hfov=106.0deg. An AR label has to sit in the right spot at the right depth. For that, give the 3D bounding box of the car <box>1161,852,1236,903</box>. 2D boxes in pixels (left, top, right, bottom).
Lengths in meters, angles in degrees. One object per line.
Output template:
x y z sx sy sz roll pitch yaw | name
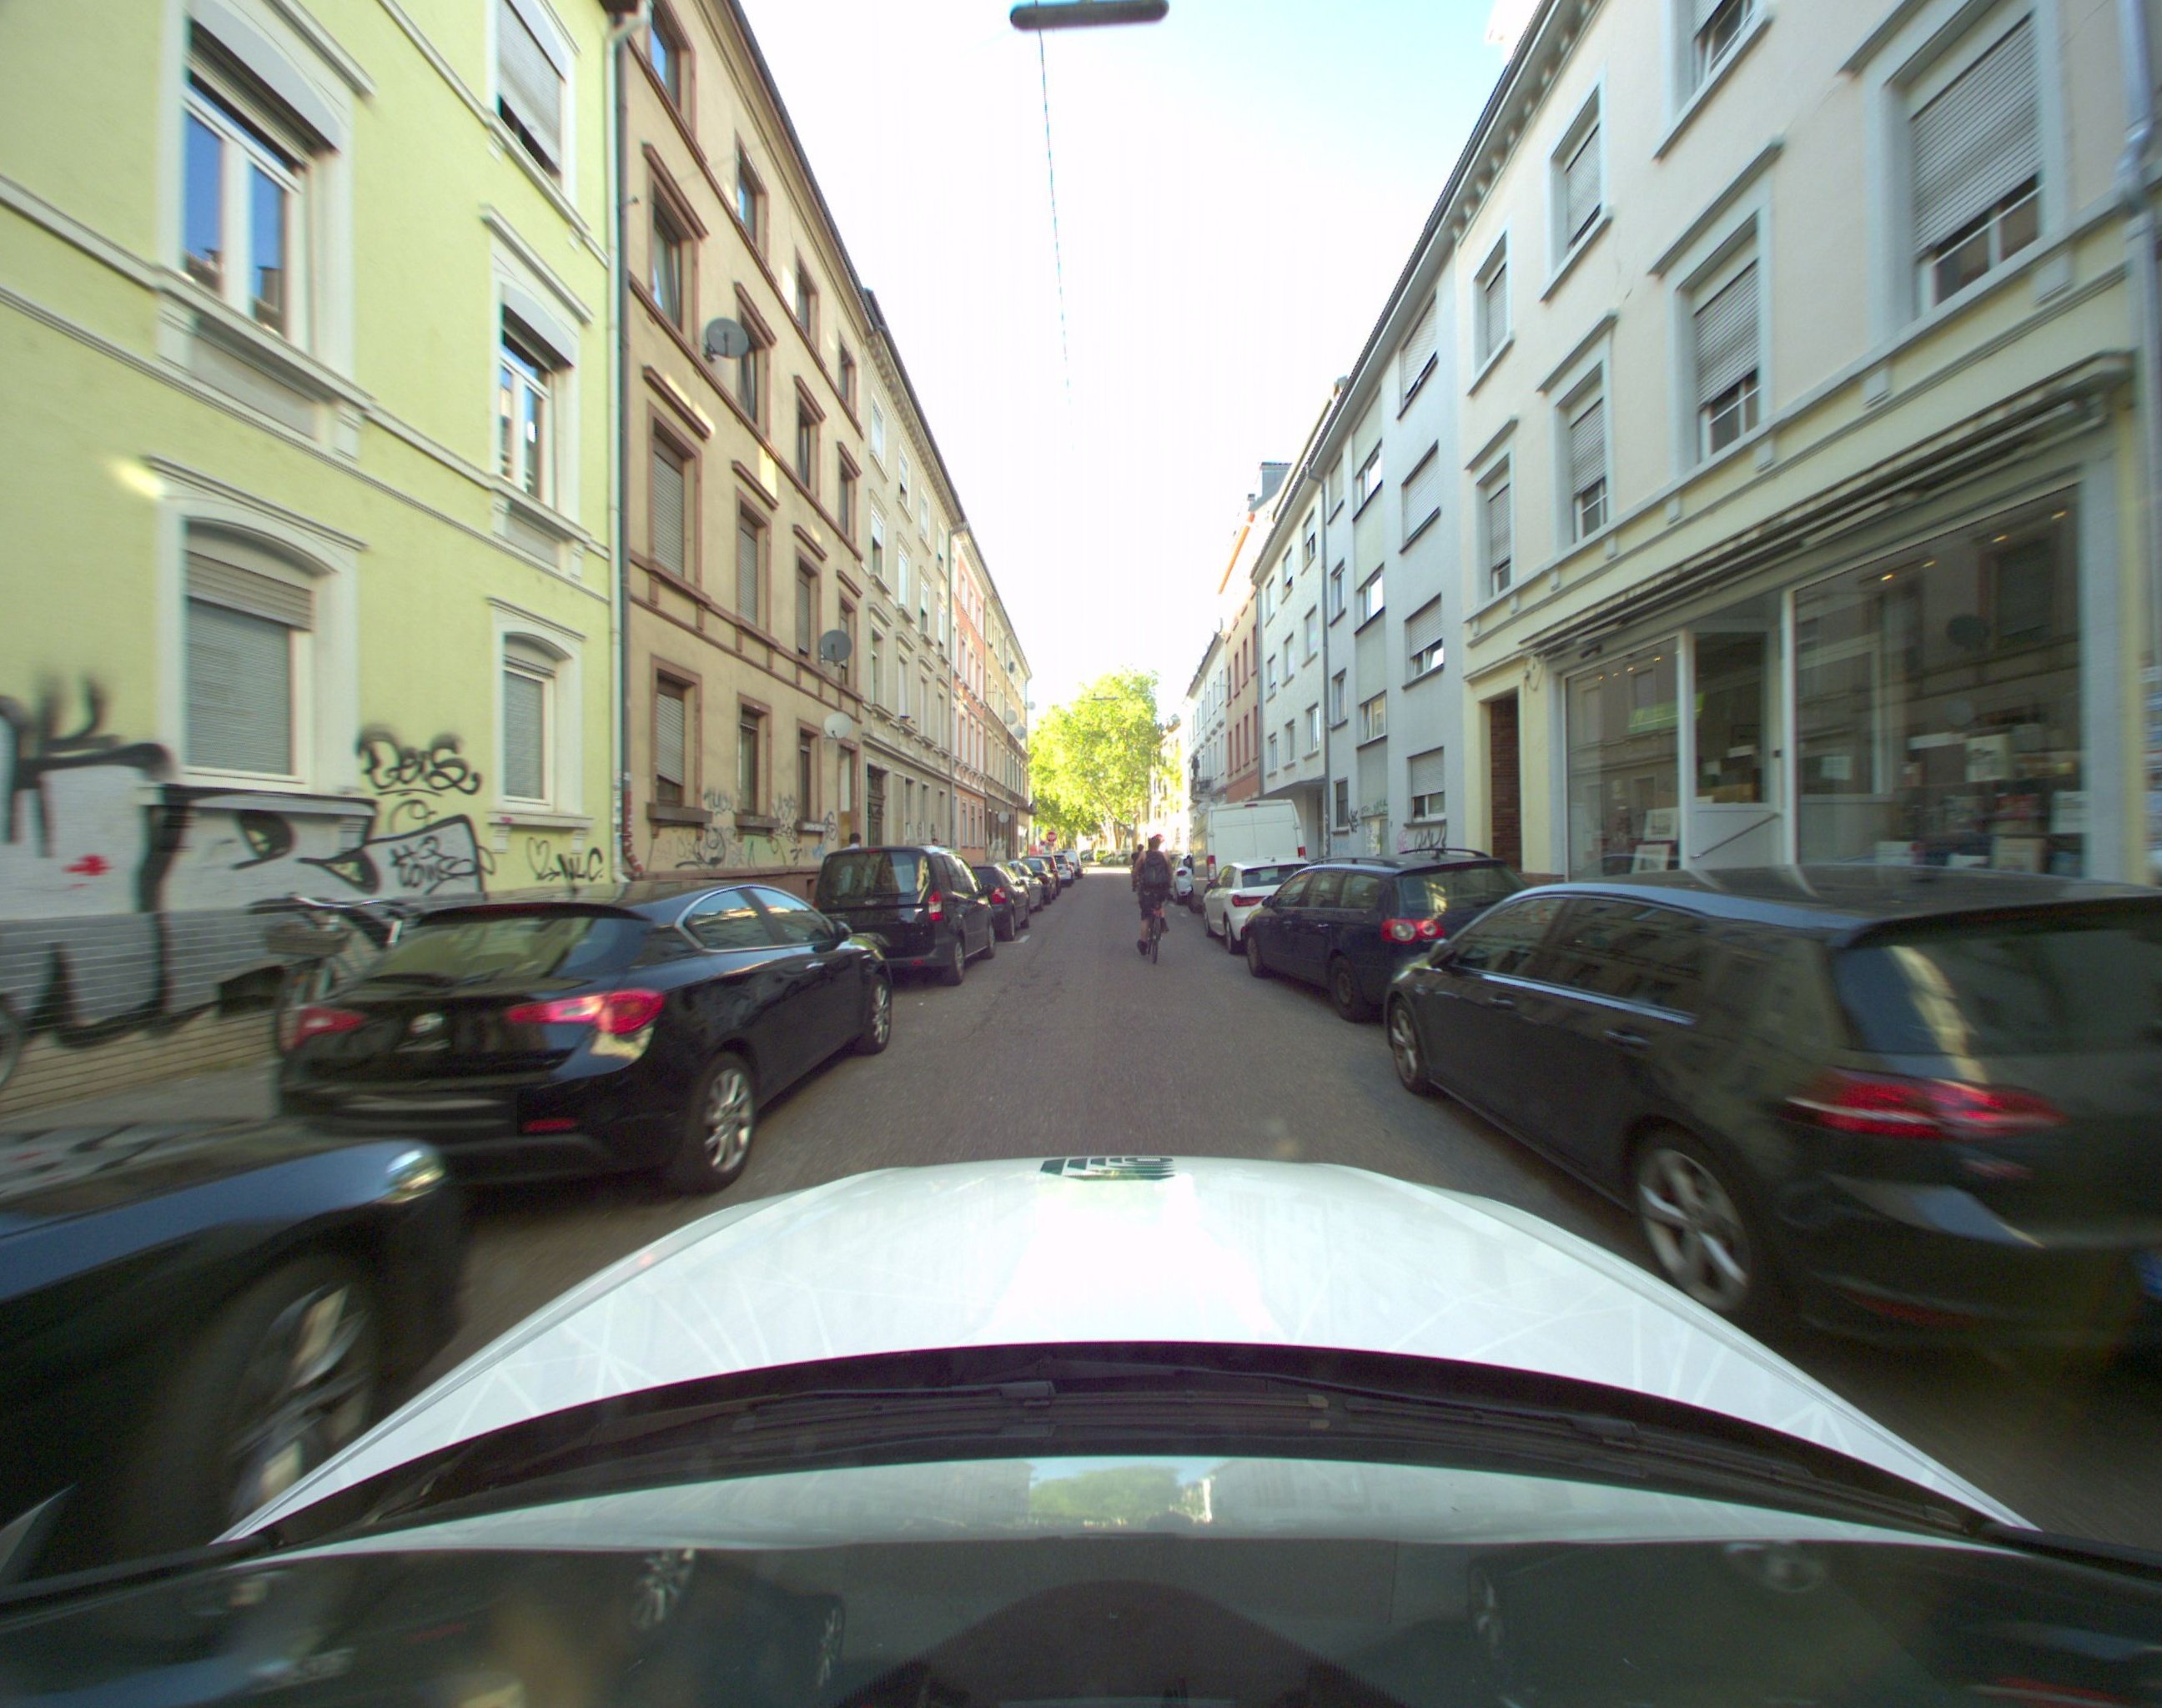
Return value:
3.650 0.677 25.901 1.726 1.470 4.020 -1 0 -1 | car

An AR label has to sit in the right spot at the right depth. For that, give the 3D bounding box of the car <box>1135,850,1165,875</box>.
5.172 0.635 61.634 1.887 1.769 3.999 -1 0 0 | car

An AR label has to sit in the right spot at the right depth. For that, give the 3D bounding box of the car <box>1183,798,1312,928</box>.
3.715 0.172 19.366 2.194 2.550 6.042 -1 0 4 | car

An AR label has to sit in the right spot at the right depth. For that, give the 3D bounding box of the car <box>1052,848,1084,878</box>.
-0.791 0.535 50.653 1.781 1.737 3.877 -1 0 1 | car

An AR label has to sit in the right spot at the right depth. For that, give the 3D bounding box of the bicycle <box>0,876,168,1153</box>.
-5.397 0.763 3.445 0.671 1.271 2.087 0 0 2 | bicycle

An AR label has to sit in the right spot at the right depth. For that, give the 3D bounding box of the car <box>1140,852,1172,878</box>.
4.682 0.642 51.257 1.647 1.530 3.574 -1 0 0 | car

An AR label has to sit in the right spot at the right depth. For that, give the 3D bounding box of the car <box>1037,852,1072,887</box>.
-1.224 0.703 38.452 1.540 1.550 3.463 -1 0 -1 | car

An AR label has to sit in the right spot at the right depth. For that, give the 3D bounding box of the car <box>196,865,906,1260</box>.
-2.486 0.838 5.148 1.730 1.427 4.002 -1 0 2 | car

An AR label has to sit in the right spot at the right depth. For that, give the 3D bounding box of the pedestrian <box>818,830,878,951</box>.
-3.599 0.546 12.648 0.648 1.817 0.754 1 0 2 | pedestrian

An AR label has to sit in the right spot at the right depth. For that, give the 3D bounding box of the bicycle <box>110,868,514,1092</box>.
-5.363 0.765 5.982 0.665 1.245 2.328 2 0 1 | bicycle

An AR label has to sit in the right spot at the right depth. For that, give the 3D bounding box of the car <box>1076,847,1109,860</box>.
1.602 -0.015 114.885 4.458 1.696 1.864 -1 0 -3 | car

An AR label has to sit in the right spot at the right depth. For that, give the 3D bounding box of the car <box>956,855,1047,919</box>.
-1.963 0.778 21.062 1.666 1.430 3.893 -1 0 4 | car

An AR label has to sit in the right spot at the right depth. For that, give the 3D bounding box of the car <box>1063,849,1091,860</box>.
-0.661 0.065 128.747 4.458 1.696 1.864 -1 0 -3 | car

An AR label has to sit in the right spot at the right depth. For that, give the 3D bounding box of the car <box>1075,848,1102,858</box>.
1.268 -0.170 137.016 4.458 1.696 1.864 -1 0 -3 | car

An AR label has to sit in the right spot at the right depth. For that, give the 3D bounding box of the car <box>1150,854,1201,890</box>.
3.849 0.692 33.607 1.652 1.338 4.000 -1 0 0 | car

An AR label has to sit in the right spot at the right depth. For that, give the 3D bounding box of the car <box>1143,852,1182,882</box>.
4.357 0.670 44.152 1.705 1.470 4.000 -1 0 0 | car

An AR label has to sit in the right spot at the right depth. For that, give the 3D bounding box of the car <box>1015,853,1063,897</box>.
-1.555 0.740 31.079 1.599 1.530 3.379 -2 0 0 | car

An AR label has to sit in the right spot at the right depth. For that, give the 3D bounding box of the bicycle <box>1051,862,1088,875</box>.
-0.824 1.078 60.133 2.707 0.892 0.618 -1 0 -1 | bicycle

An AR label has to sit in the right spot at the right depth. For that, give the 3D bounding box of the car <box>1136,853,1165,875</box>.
4.839 0.681 56.832 1.681 1.471 3.574 -1 0 0 | car

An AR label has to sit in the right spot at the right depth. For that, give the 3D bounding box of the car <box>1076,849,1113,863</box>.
1.697 0.232 101.480 4.458 1.696 1.864 -1 0 -3 | car

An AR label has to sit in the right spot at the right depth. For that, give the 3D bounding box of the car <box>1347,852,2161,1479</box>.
2.857 0.755 4.095 1.739 1.485 4.244 -1 0 2 | car

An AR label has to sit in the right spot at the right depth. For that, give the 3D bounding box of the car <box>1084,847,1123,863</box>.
2.591 0.101 94.701 4.458 1.696 1.864 -1 0 -3 | car

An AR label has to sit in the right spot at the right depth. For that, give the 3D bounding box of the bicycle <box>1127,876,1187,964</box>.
1.073 0.915 11.968 0.737 1.100 2.043 1 0 2 | bicycle

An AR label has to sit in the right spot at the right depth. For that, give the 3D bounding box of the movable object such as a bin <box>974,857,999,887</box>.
-3.910 0.738 33.766 0.831 1.126 0.716 -6 0 4 | movable object such as a bin

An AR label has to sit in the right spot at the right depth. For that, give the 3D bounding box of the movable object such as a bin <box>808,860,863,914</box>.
-5.001 0.657 16.621 0.786 1.025 0.757 4 0 4 | movable object such as a bin

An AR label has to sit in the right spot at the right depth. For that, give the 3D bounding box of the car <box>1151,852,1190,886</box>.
4.199 0.663 38.694 1.586 1.492 3.878 -1 0 2 | car

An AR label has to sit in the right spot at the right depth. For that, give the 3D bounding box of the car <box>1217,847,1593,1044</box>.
3.091 0.725 9.014 1.810 1.478 4.596 -4 1 -7 | car

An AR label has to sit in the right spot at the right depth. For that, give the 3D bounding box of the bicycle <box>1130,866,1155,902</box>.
1.885 0.915 25.247 0.661 1.037 1.960 -1 0 2 | bicycle

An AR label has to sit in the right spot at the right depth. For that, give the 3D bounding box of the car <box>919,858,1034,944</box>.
-1.938 0.839 16.081 1.585 1.440 3.656 -1 0 3 | car

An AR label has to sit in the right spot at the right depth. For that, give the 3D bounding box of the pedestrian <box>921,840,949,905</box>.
-4.257 0.522 23.770 0.608 1.858 0.754 1 0 1 | pedestrian

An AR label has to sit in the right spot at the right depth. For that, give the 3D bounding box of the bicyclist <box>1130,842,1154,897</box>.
1.868 0.474 25.162 0.667 1.658 0.877 -1 0 2 | bicyclist

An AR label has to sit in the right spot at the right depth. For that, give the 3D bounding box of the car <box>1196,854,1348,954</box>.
3.087 0.733 13.932 1.719 1.429 3.832 -1 0 1 | car

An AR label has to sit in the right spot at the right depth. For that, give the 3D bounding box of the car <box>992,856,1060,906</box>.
-1.670 0.807 26.118 1.699 1.414 4.304 -1 0 2 | car

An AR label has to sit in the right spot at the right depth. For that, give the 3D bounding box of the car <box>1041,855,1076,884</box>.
-1.129 0.761 42.217 1.547 1.399 3.669 -1 0 1 | car

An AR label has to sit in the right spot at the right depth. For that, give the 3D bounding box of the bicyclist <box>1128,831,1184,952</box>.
1.078 0.521 11.924 0.737 1.679 1.117 1 0 1 | bicyclist

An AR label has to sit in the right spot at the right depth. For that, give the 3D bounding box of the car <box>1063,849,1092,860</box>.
-0.573 0.026 131.113 4.458 1.696 1.864 -1 0 -3 | car

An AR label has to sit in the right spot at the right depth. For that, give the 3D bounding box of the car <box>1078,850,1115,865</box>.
1.869 0.413 99.056 4.458 1.696 1.864 -1 0 -3 | car

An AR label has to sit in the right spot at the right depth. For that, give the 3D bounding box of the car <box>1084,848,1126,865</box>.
2.606 0.256 89.948 4.458 1.759 1.864 -1 0 -3 | car

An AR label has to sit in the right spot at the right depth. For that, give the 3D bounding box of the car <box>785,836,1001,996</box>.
-2.305 0.691 11.108 1.794 1.698 4.002 -3 0 2 | car
